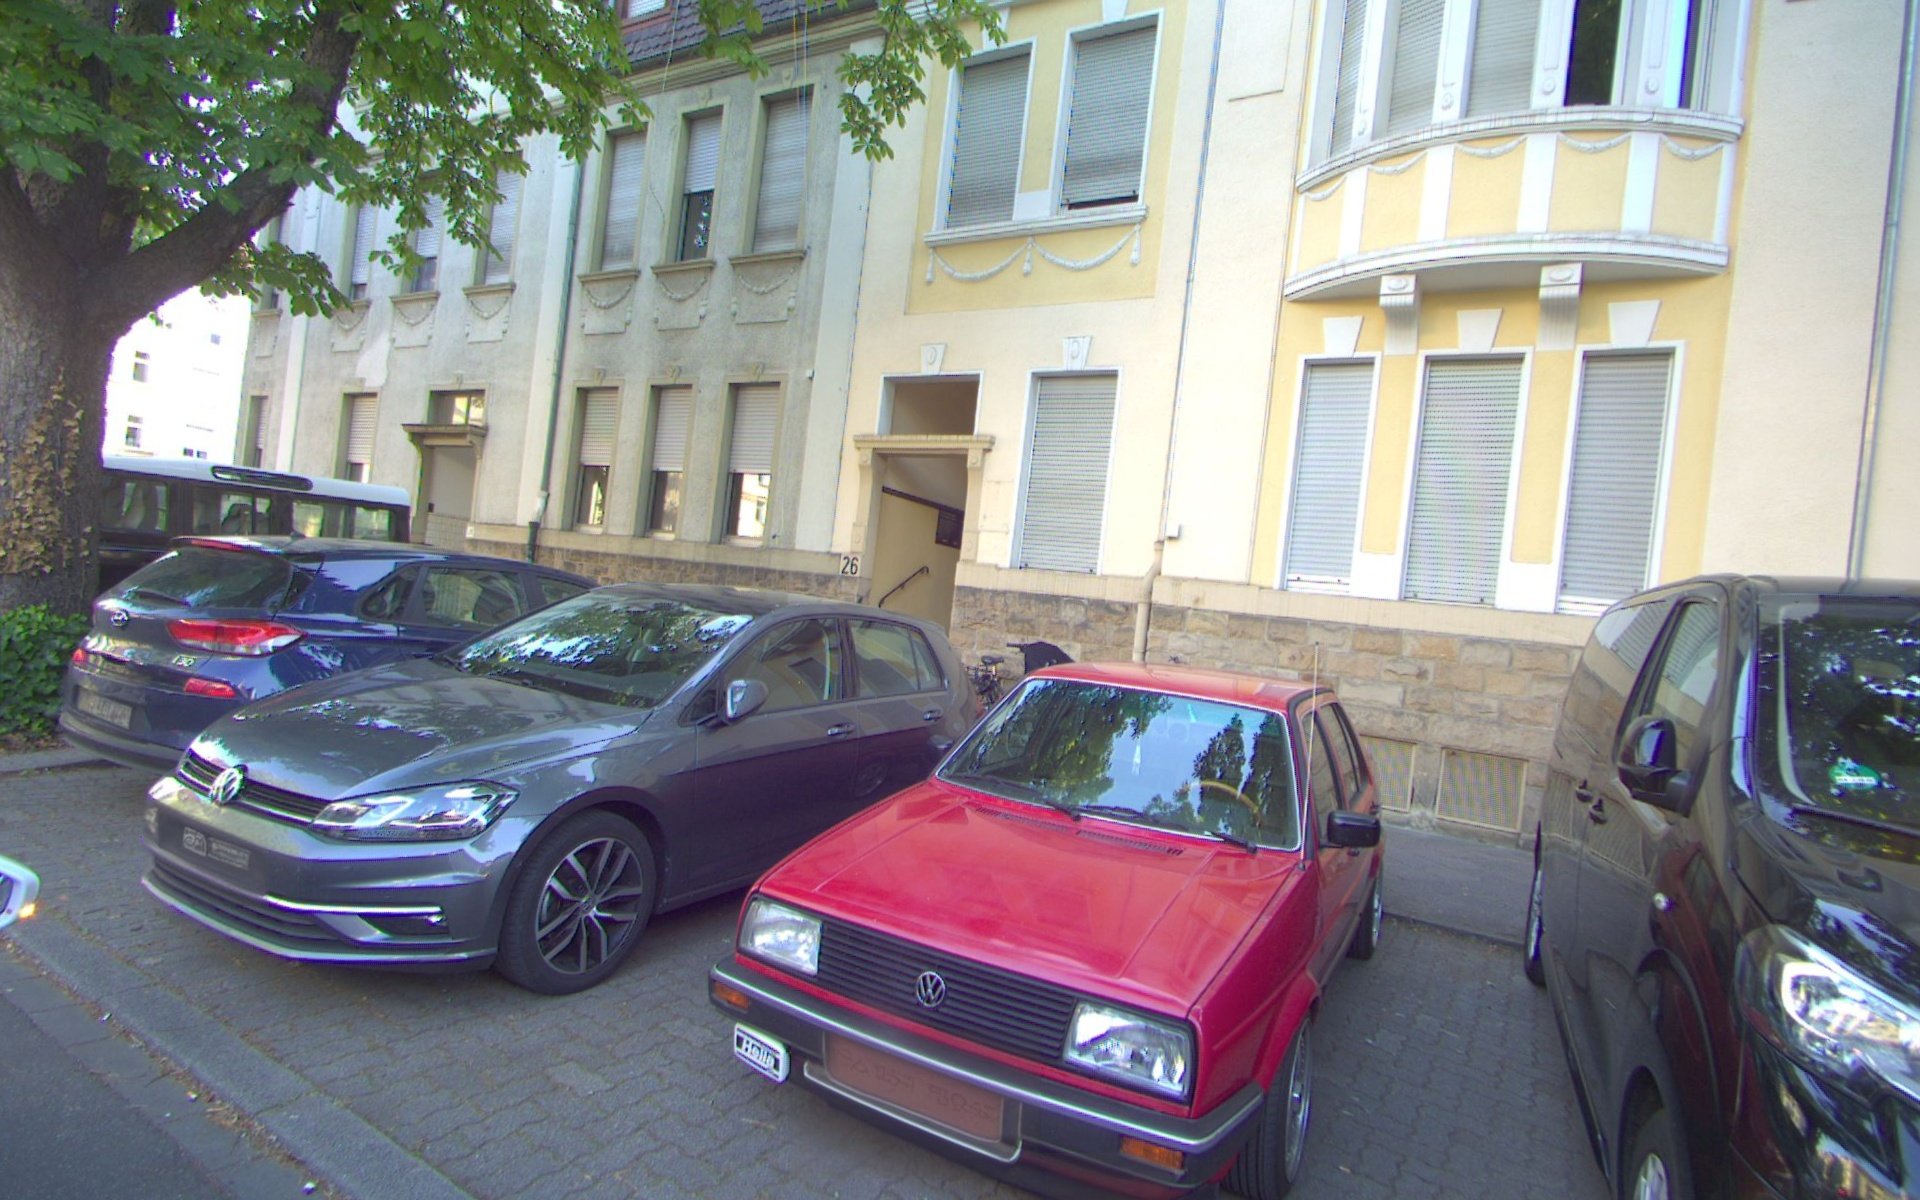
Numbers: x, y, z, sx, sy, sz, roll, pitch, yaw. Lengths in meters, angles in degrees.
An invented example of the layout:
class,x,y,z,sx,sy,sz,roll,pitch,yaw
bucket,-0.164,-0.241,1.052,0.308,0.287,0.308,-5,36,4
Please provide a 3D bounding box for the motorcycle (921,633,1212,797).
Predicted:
class,x,y,z,sx,sy,sz,roll,pitch,yaw
motorcycle,0.957,0.995,9.398,2.439,1.087,0.959,7,2,32

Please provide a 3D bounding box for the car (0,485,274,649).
class,x,y,z,sx,sy,sz,roll,pitch,yaw
car,-9.986,-0.387,10.940,1.679,1.589,3.730,6,0,28

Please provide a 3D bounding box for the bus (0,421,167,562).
class,x,y,z,sx,sy,sz,roll,pitch,yaw
bus,-26.030,-3.129,25.918,2.859,3.240,8.199,7,-1,24

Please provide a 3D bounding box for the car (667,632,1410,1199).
class,x,y,z,sx,sy,sz,roll,pitch,yaw
car,0.877,0.945,4.308,1.601,1.332,4.144,6,0,27

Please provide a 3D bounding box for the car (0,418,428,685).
class,x,y,z,sx,sy,sz,roll,pitch,yaw
car,-7.591,-0.370,9.239,1.671,2.061,4.473,6,0,28

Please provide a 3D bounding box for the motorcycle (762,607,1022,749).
class,x,y,z,sx,sy,sz,roll,pitch,yaw
motorcycle,-0.788,0.775,10.788,2.822,1.087,0.694,7,2,31

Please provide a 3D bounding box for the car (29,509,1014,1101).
class,x,y,z,sx,sy,sz,roll,pitch,yaw
car,-1.430,0.621,4.819,1.693,1.470,4.060,6,0,28

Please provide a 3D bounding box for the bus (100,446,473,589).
class,x,y,z,sx,sy,sz,roll,pitch,yaw
bus,-22.285,-2.525,34.451,2.859,3.240,10.482,7,-1,24

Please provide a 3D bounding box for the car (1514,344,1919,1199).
class,x,y,z,sx,sy,sz,roll,pitch,yaw
car,2.854,0.869,2.881,1.864,1.898,4.759,6,0,27

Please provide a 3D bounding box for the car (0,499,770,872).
class,x,y,z,sx,sy,sz,roll,pitch,yaw
car,-3.084,0.424,6.202,1.679,1.470,3.730,6,0,28
